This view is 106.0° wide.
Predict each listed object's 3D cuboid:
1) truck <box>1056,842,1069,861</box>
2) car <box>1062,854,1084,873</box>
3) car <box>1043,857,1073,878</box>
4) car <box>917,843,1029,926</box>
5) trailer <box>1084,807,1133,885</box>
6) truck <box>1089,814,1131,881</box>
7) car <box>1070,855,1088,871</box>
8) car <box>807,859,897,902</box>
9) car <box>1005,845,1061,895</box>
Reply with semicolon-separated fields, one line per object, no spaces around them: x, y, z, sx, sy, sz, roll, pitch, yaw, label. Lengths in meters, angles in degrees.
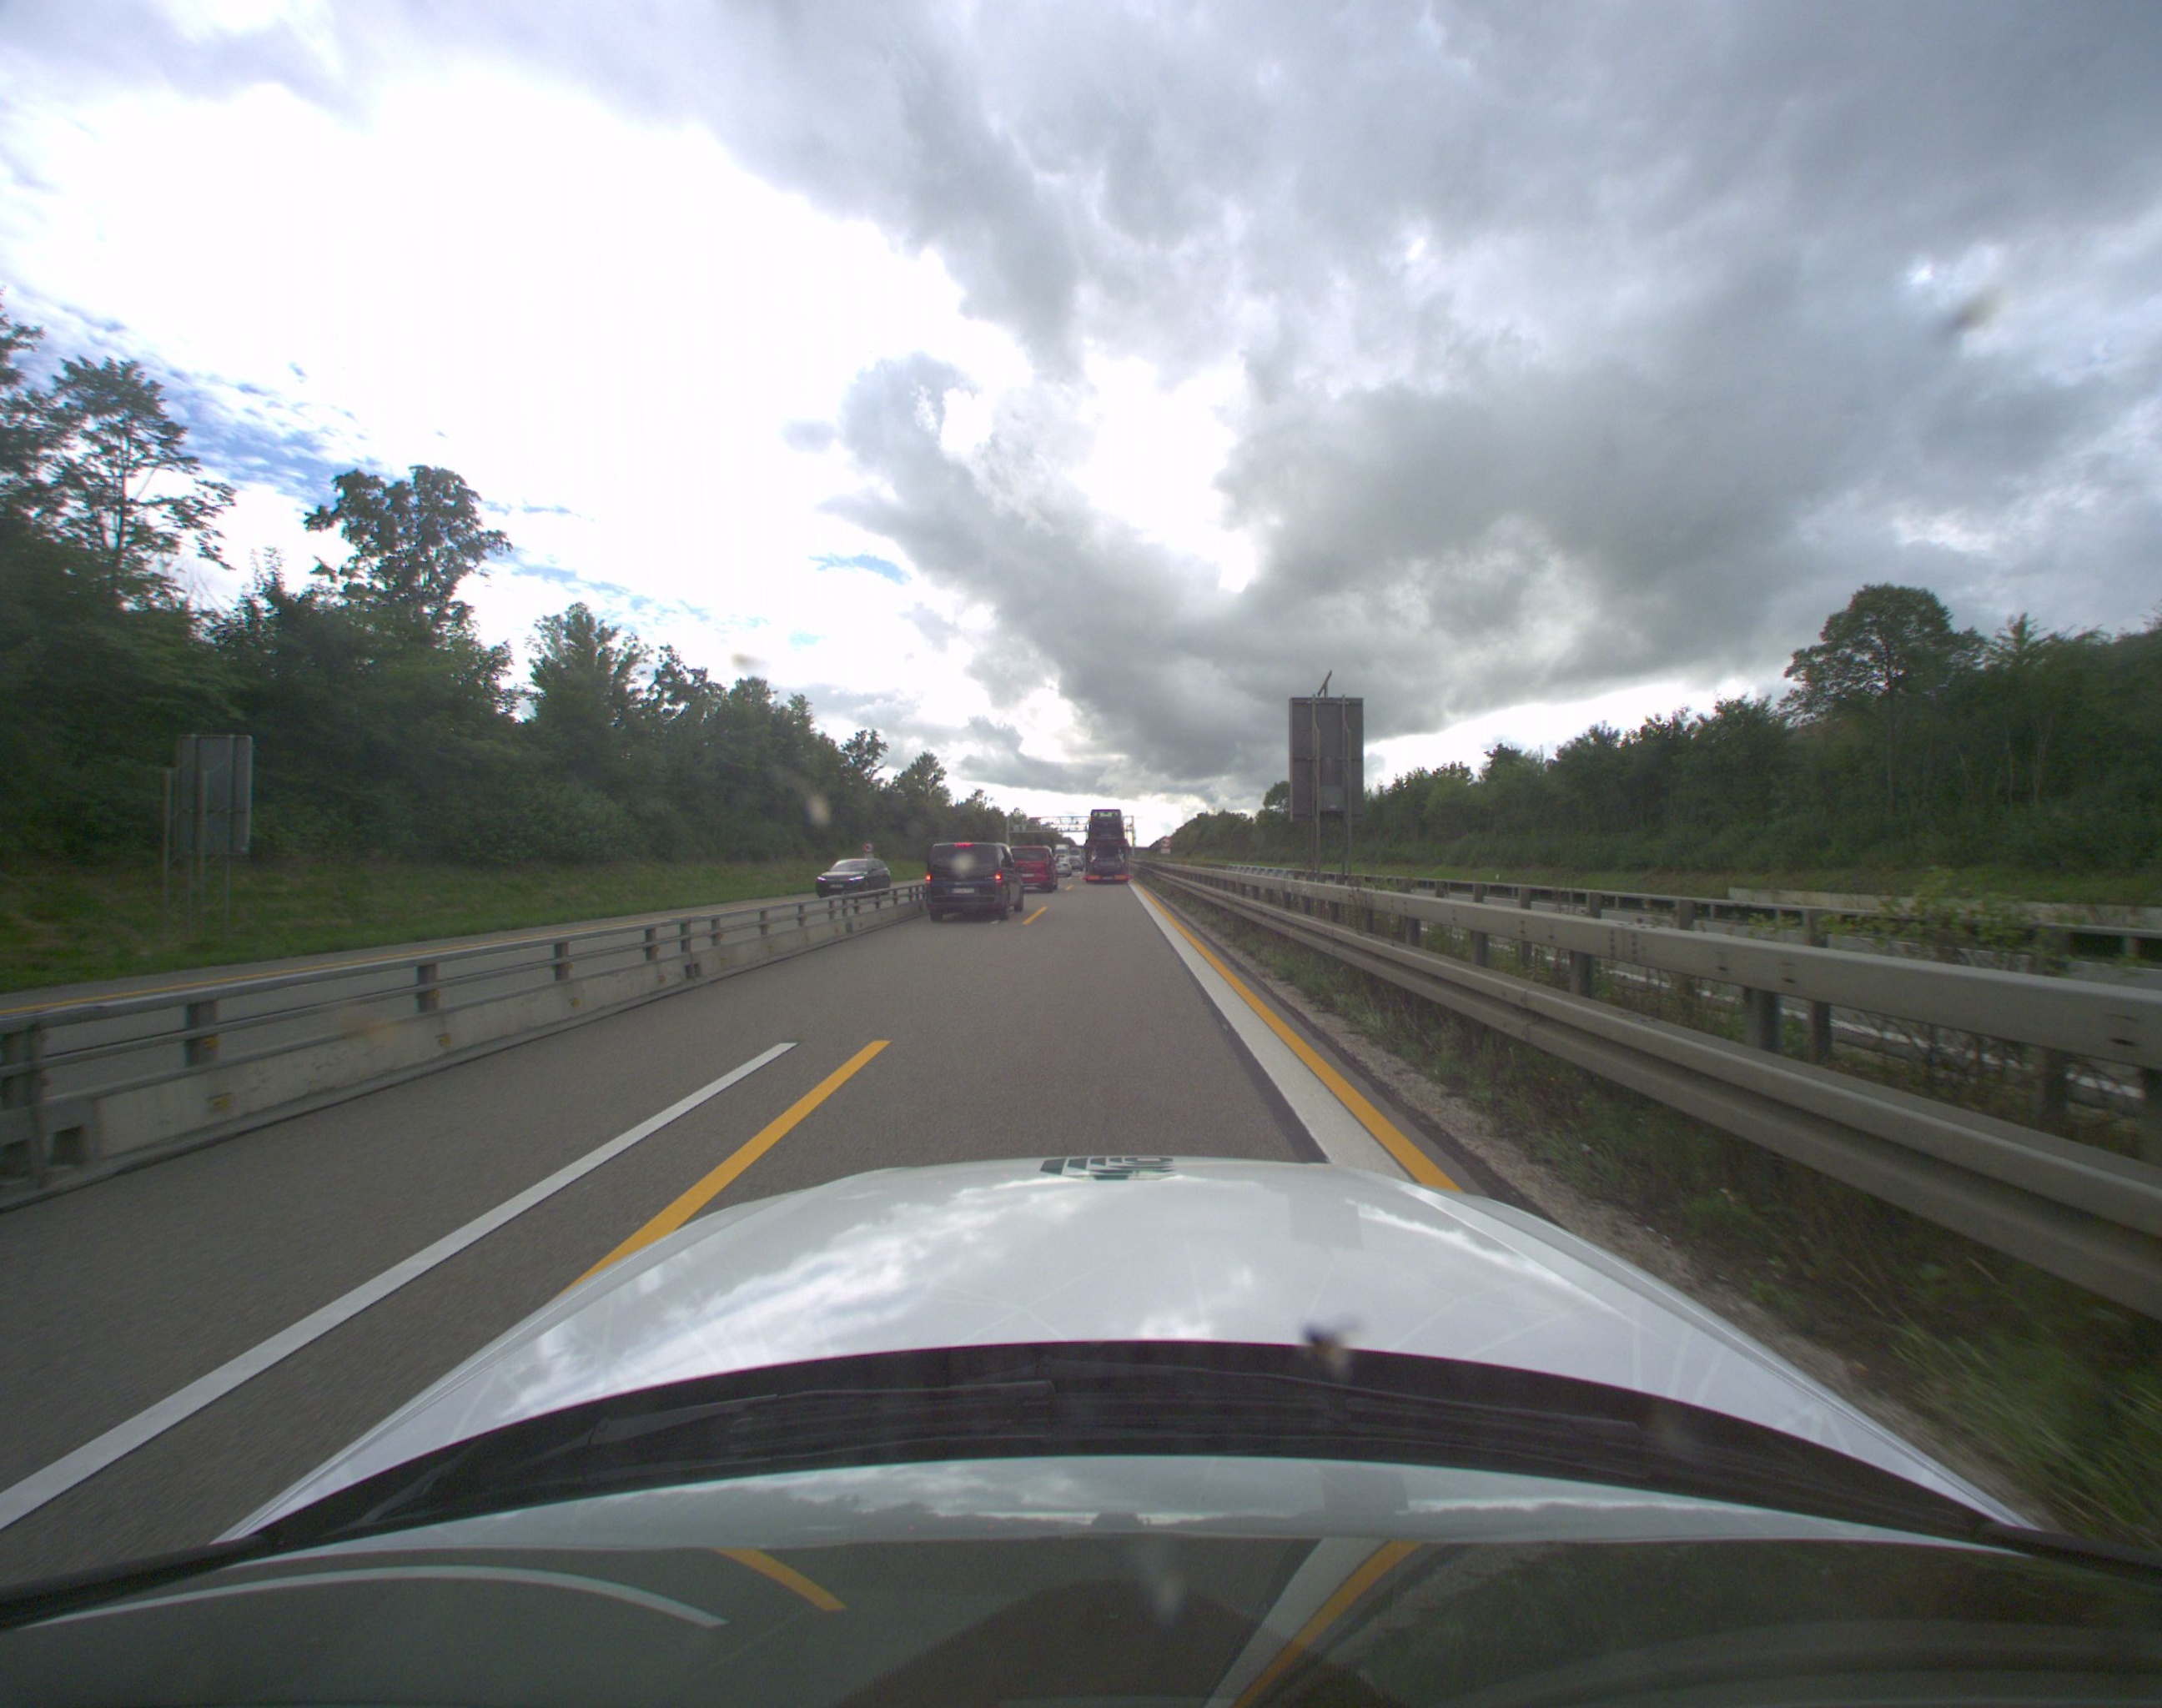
-4.113;-0.500;182.182;2.589;4.154;5.622;0;0;2;truck
-0.730;0.946;81.454;2.024;1.757;4.579;-1;0;1;car
-1.682;0.994;61.061;2.024;1.430;4.579;-1;0;1;car
-2.647;0.713;21.399;1.986;1.843;5.612;-1;0;2;car
1.693;-0.400;48.305;2.505;4.105;11.120;-1;0;2;trailer
1.903;-0.383;53.060;2.505;4.105;5.688;-1;0;2;truck
-0.183;1.023;96.723;2.024;1.757;4.578;-1;0;1;car
-9.079;1.001;32.767;1.986;1.524;5.027;-1;0;2;car
-2.016;0.676;35.580;2.023;2.013;4.580;-1;0;2;car
